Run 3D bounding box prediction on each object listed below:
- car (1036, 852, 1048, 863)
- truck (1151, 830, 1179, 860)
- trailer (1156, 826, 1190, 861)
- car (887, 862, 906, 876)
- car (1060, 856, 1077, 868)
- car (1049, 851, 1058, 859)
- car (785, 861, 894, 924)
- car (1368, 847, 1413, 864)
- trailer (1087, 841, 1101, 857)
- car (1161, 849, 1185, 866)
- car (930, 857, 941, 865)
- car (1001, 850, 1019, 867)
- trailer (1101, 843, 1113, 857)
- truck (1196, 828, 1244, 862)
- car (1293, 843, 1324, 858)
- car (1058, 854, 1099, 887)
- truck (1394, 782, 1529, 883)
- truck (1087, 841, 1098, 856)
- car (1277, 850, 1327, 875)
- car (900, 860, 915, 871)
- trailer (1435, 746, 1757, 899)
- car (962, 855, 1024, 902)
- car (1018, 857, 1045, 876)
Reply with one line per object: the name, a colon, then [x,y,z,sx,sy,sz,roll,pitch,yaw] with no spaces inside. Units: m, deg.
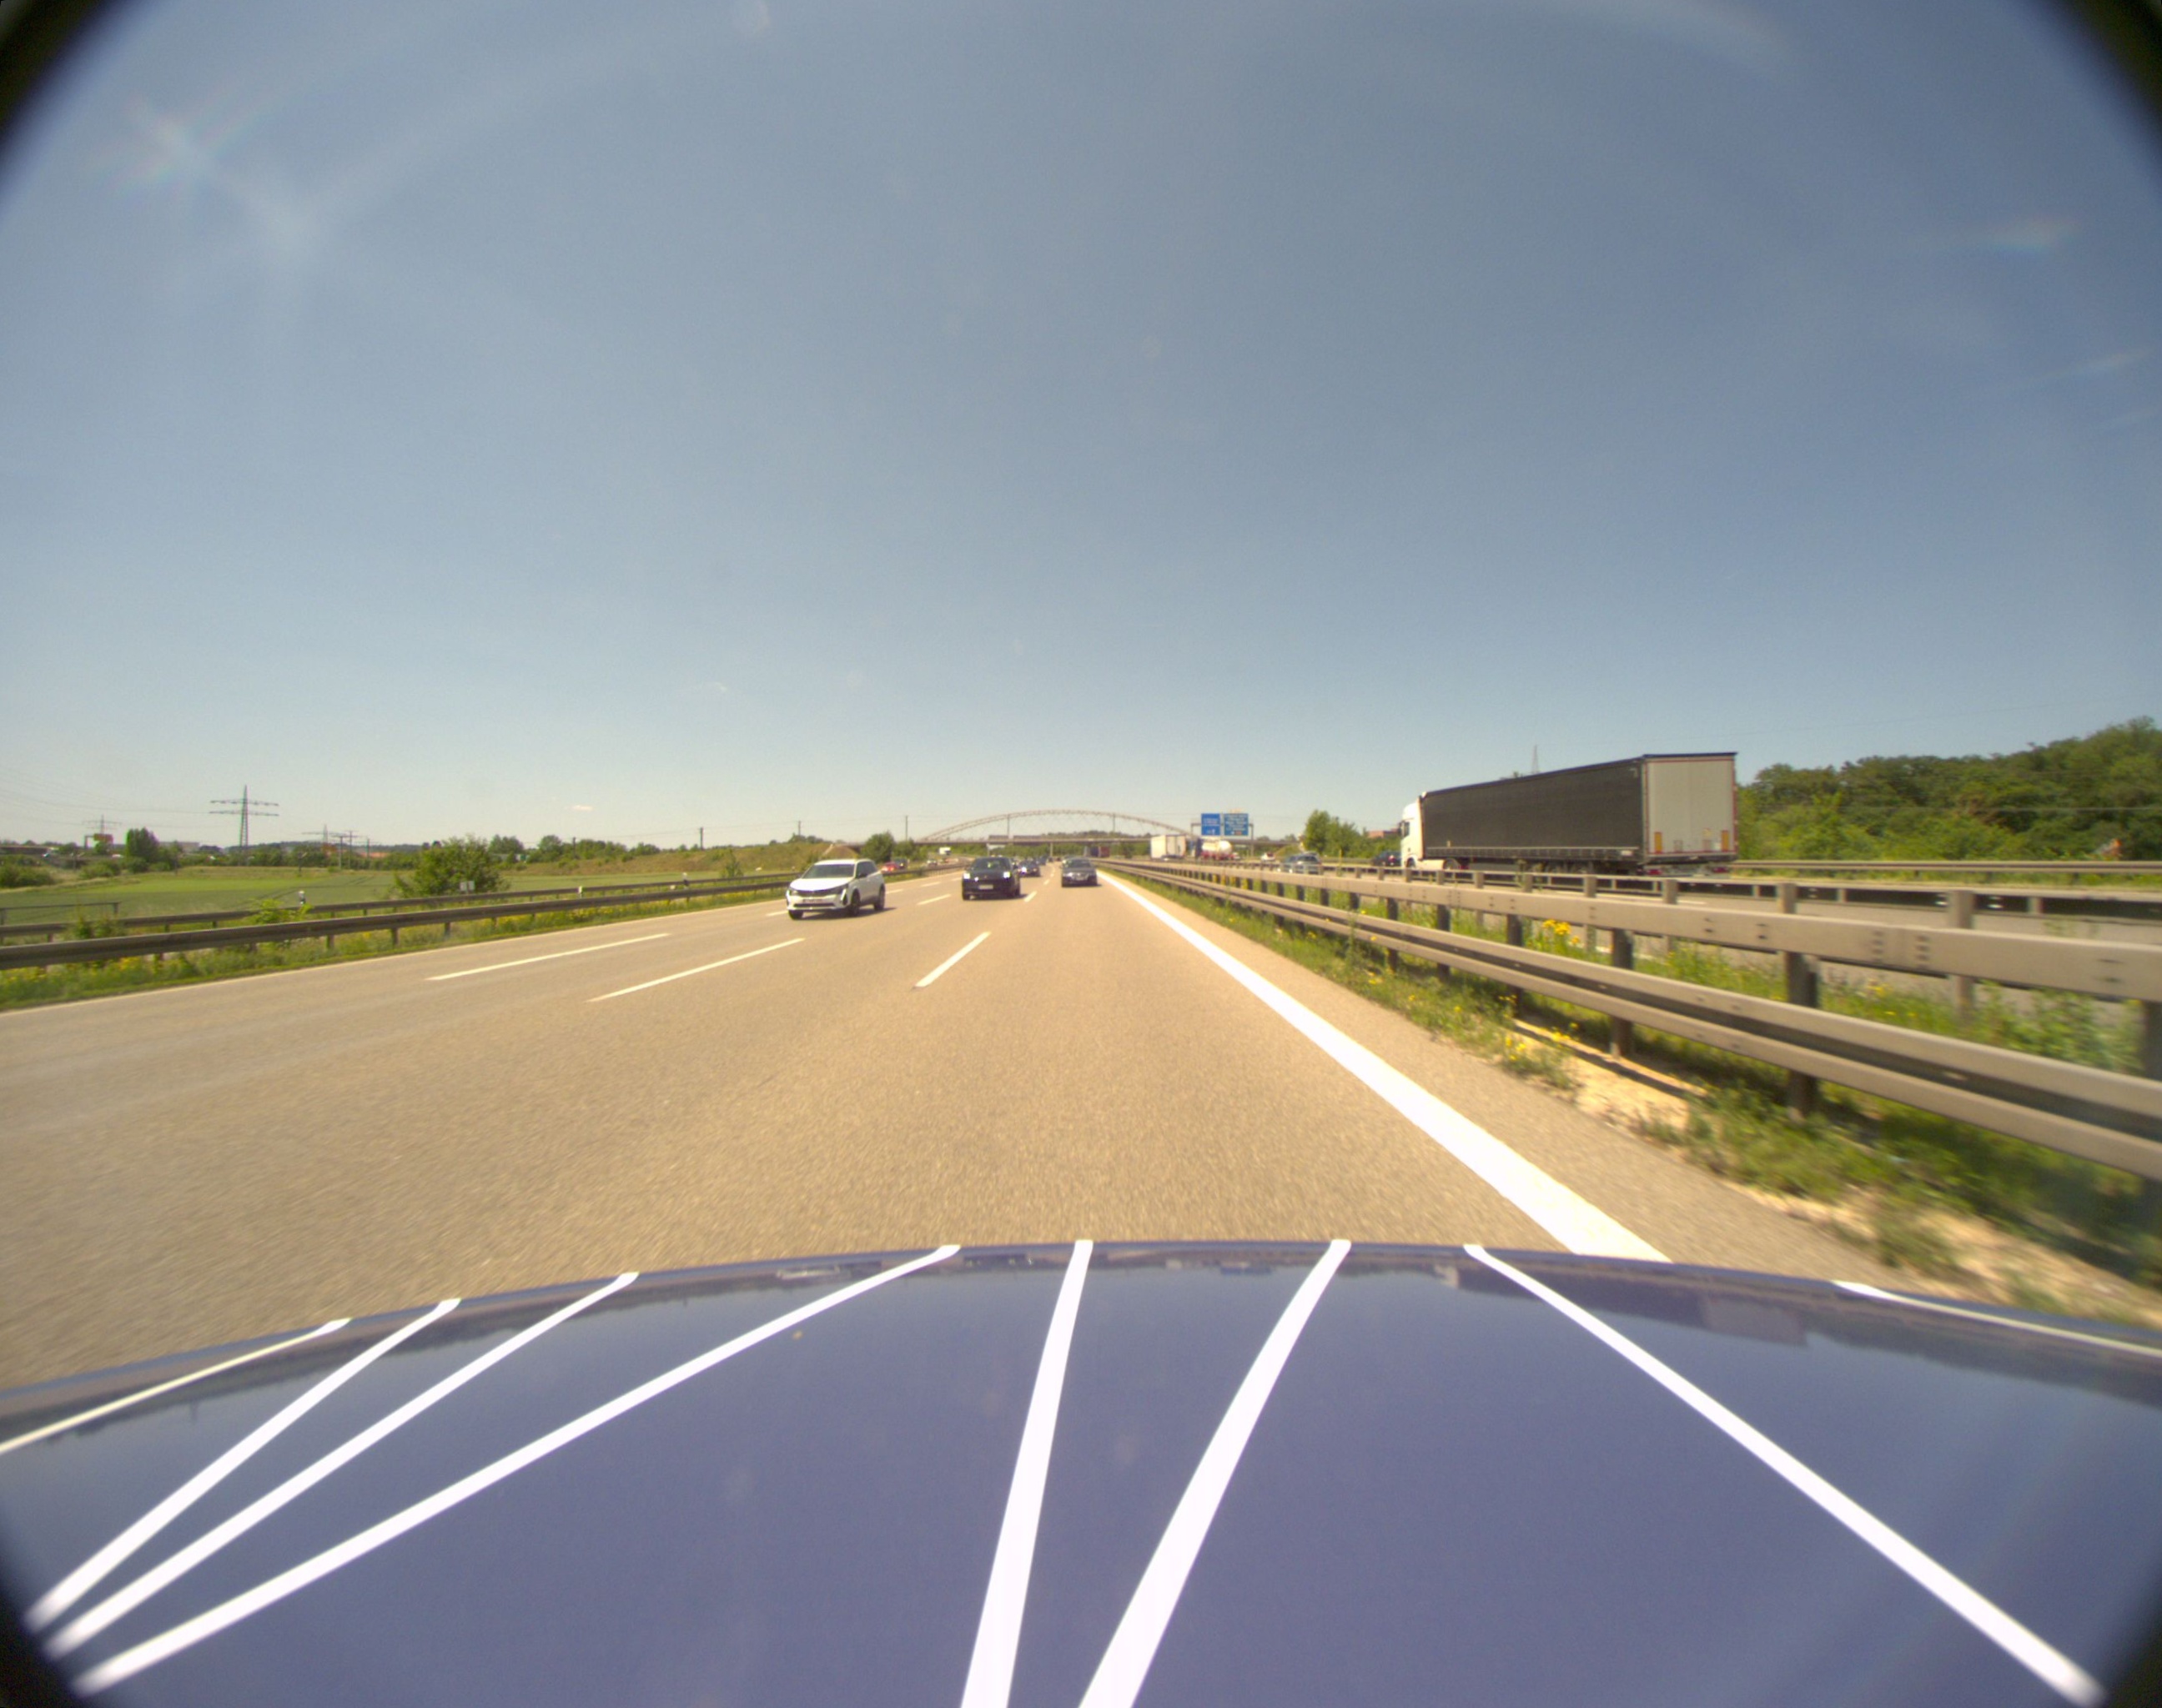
car: [-6.838,0.552,132.652,1.925,1.761,3.998,-2,1,-4]
truck: [12.002,-1.245,109.140,2.975,4.096,7.596,-2,1,-1]
trailer: [12.147,-1.328,101.323,2.963,4.346,10.730,-2,1,-1]
car: [-22.434,1.810,92.661,1.705,1.566,4.125,-2,1,-6]
car: [-1.622,1.050,99.672,1.932,1.390,4.115,-2,1,-4]
car: [-6.816,0.266,187.015,1.999,1.849,3.999,-2,1,-2]
car: [-7.071,1.056,22.785,1.748,1.582,4.619,-2,1,0]
car: [25.994,0.103,63.894,1.835,1.308,4.662,-2,0,0]
trailer: [3.719,-1.477,220.346,2.953,4.317,14.615,-2,1,-2]
car: [9.372,0.334,77.565,1.852,1.588,4.409,-2,0,0]
car: [-30.454,1.365,158.989,1.704,1.566,4.127,-2,1,-2]
car: [-8.614,0.530,92.308,1.809,1.908,4.294,-2,1,-2]
trailer: [7.752,-1.119,227.815,2.567,4.081,8.710,-2,1,-5]
truck: [17.016,-1.052,94.348,3.227,3.763,12.898,-2,0,-1]
car: [23.375,-0.349,78.192,1.755,1.437,4.440,-2,0,-1]
car: [-0.084,0.815,39.243,1.931,1.499,4.391,-2,1,2]
truck: [17.063,-0.886,34.642,2.888,4.093,6.384,-2,0,0]
truck: [3.455,-1.534,227.237,2.936,4.319,6.913,-2,1,-2]
car: [13.179,0.492,45.550,1.710,1.352,4.497,-2,0,0]
car: [-26.622,1.719,116.802,1.705,1.566,4.125,-2,1,-6]
trailer: [17.009,-0.874,27.047,2.897,4.089,12.585,-2,0,0]
car: [-3.314,0.876,29.357,1.932,1.586,4.131,-2,1,-1]
car: [-3.933,0.993,60.695,1.932,1.390,4.116,-2,1,-1]
